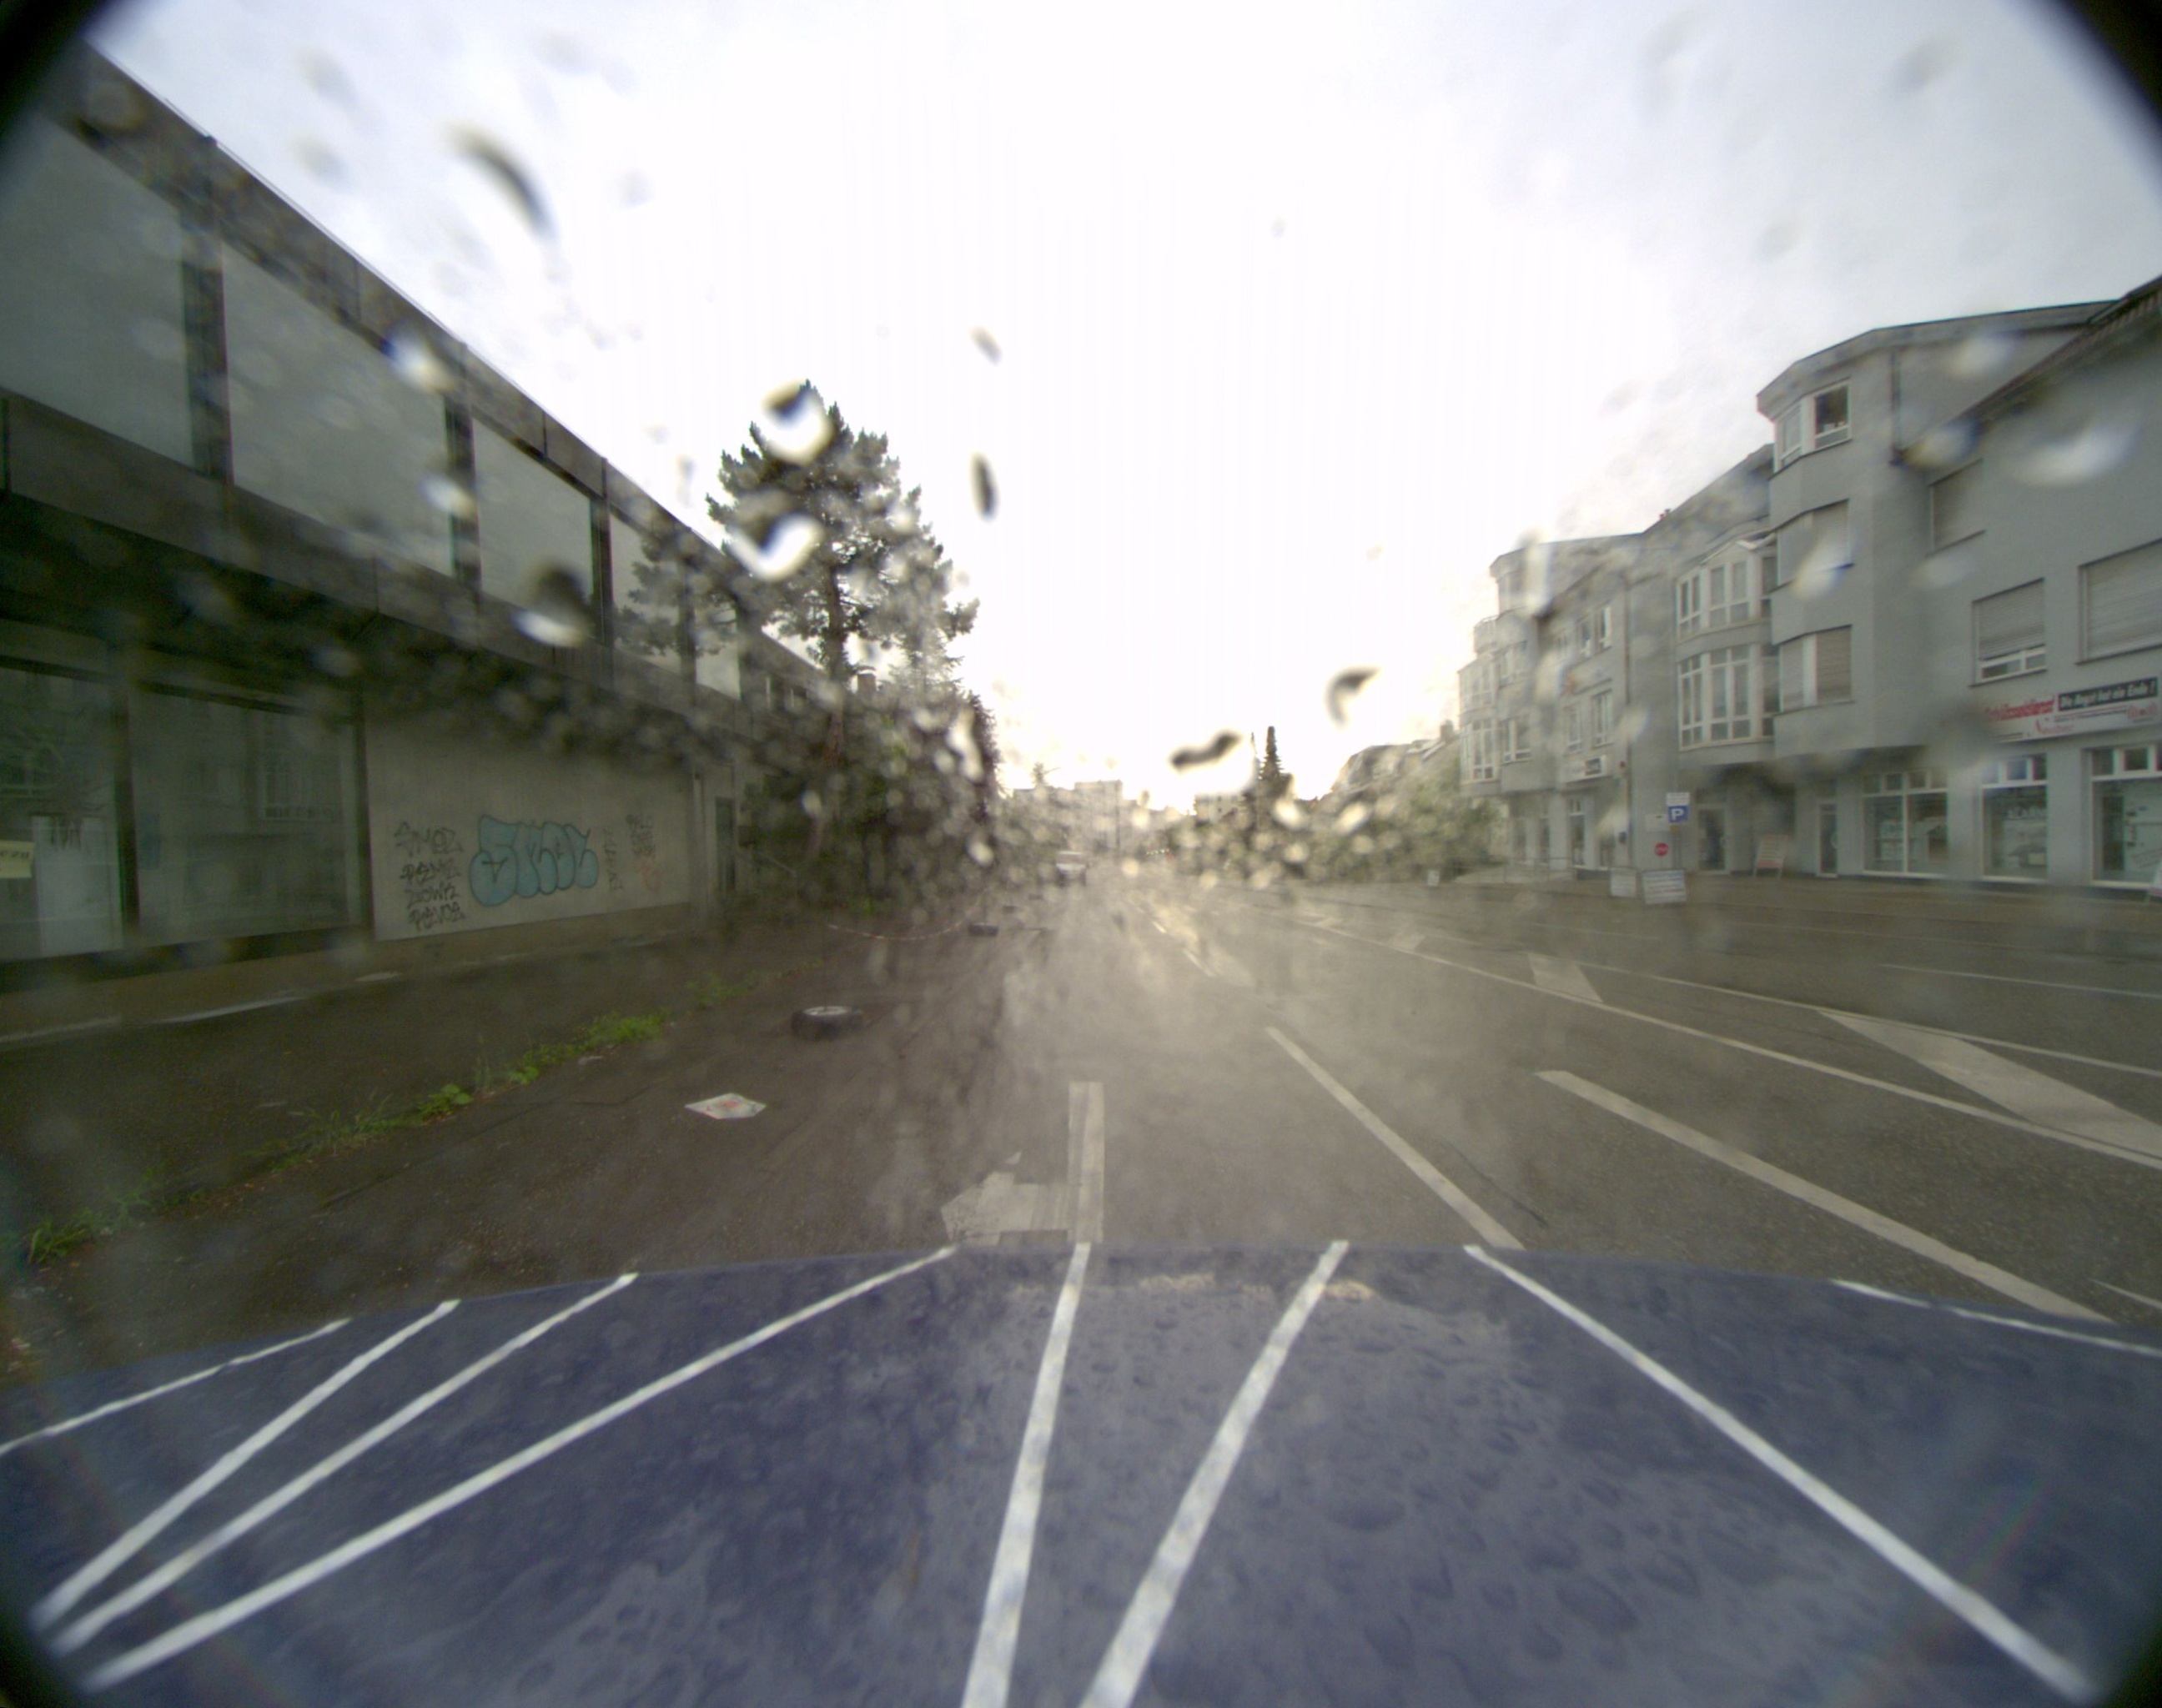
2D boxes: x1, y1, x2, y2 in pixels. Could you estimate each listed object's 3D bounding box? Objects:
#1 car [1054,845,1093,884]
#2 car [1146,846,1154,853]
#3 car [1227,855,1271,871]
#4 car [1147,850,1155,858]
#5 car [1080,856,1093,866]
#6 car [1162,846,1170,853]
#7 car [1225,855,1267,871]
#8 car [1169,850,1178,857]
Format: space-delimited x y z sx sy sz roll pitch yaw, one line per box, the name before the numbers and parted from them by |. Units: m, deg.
car | -0.461 0.655 50.395 2.397 2.417 6.433 -1 0 0
car | 17.314 -1.168 190.063 1.851 1.753 4.123 -1 0 6
car | 16.888 0.903 76.554 4.034 1.433 1.813 -3 0 6
car | 16.845 0.095 183.123 1.851 1.870 4.122 -1 0 5
car | 1.011 1.205 132.738 1.912 1.622 3.704 -1 0 5
car | 23.766 -1.219 213.405 1.850 1.753 4.125 -1 0 11
car | 17.116 0.924 79.038 4.155 1.434 1.891 -3 0 8
car | 21.872 -0.229 179.587 1.997 1.606 4.003 -1 0 11
